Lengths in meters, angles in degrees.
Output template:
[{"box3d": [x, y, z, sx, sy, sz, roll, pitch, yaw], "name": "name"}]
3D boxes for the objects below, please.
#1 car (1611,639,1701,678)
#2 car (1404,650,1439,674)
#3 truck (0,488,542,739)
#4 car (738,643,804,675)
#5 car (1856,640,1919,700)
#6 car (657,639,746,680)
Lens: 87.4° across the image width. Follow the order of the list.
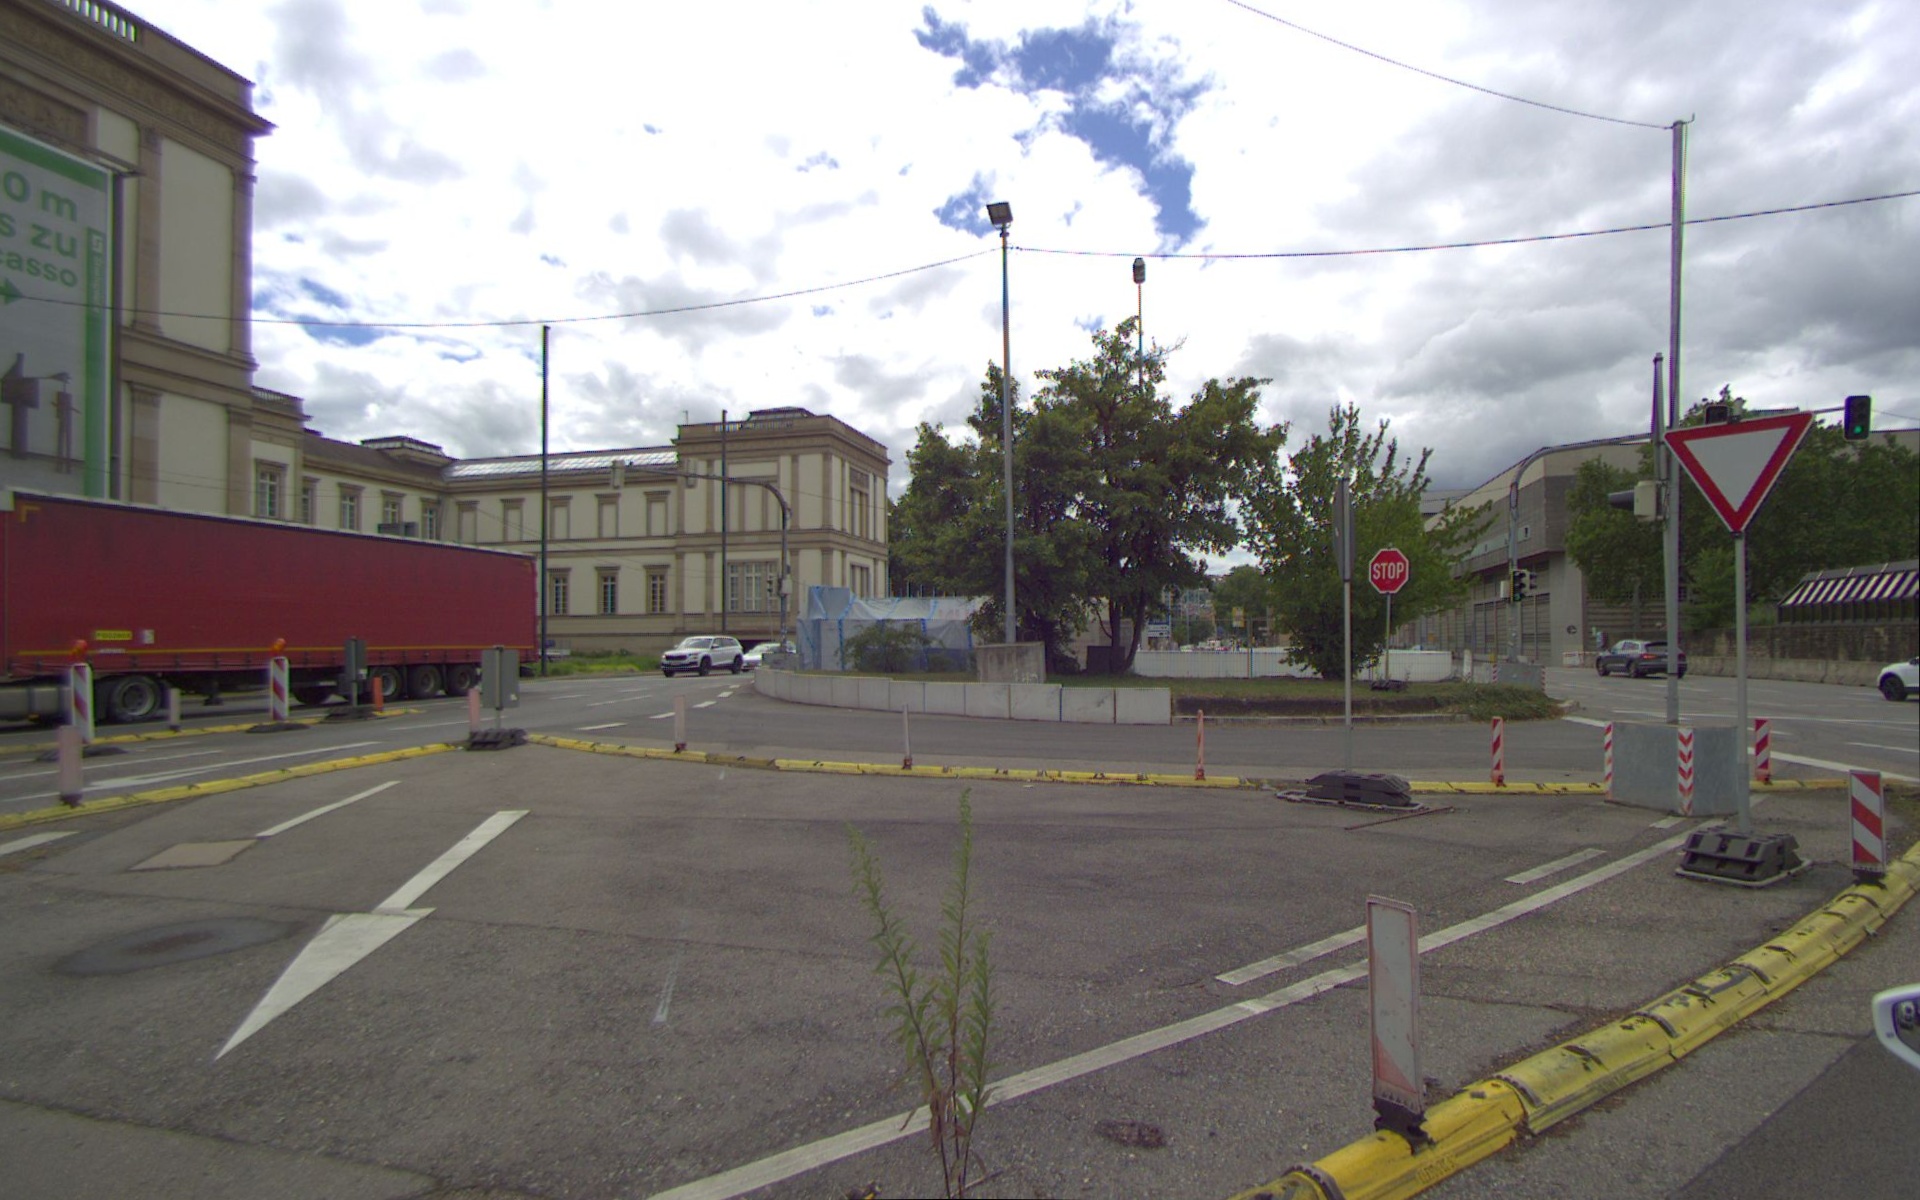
[{"box3d": [30.897, 2.579, 44.751, 1.792, 1.588, 4.482, -1, -1, 14], "name": "car"}, {"box3d": [34.810, 4.652, 75.900, 1.793, 1.763, 4.482, -2, -3, 17], "name": "car"}, {"box3d": [-15.854, 0.446, 22.110, 2.868, 4.136, 16.625, -2, -2, 14], "name": "truck"}, {"box3d": [-8.966, 2.790, 47.905, 1.559, 1.445, 3.644, 0, -2, 17], "name": "car"}, {"box3d": [26.870, 1.872, 27.022, 1.721, 1.588, 4.334, -2, -3, 3], "name": "car"}, {"box3d": [-10.667, 2.436, 41.771, 1.682, 1.557, 4.143, 0, -2, 17], "name": "car"}]
